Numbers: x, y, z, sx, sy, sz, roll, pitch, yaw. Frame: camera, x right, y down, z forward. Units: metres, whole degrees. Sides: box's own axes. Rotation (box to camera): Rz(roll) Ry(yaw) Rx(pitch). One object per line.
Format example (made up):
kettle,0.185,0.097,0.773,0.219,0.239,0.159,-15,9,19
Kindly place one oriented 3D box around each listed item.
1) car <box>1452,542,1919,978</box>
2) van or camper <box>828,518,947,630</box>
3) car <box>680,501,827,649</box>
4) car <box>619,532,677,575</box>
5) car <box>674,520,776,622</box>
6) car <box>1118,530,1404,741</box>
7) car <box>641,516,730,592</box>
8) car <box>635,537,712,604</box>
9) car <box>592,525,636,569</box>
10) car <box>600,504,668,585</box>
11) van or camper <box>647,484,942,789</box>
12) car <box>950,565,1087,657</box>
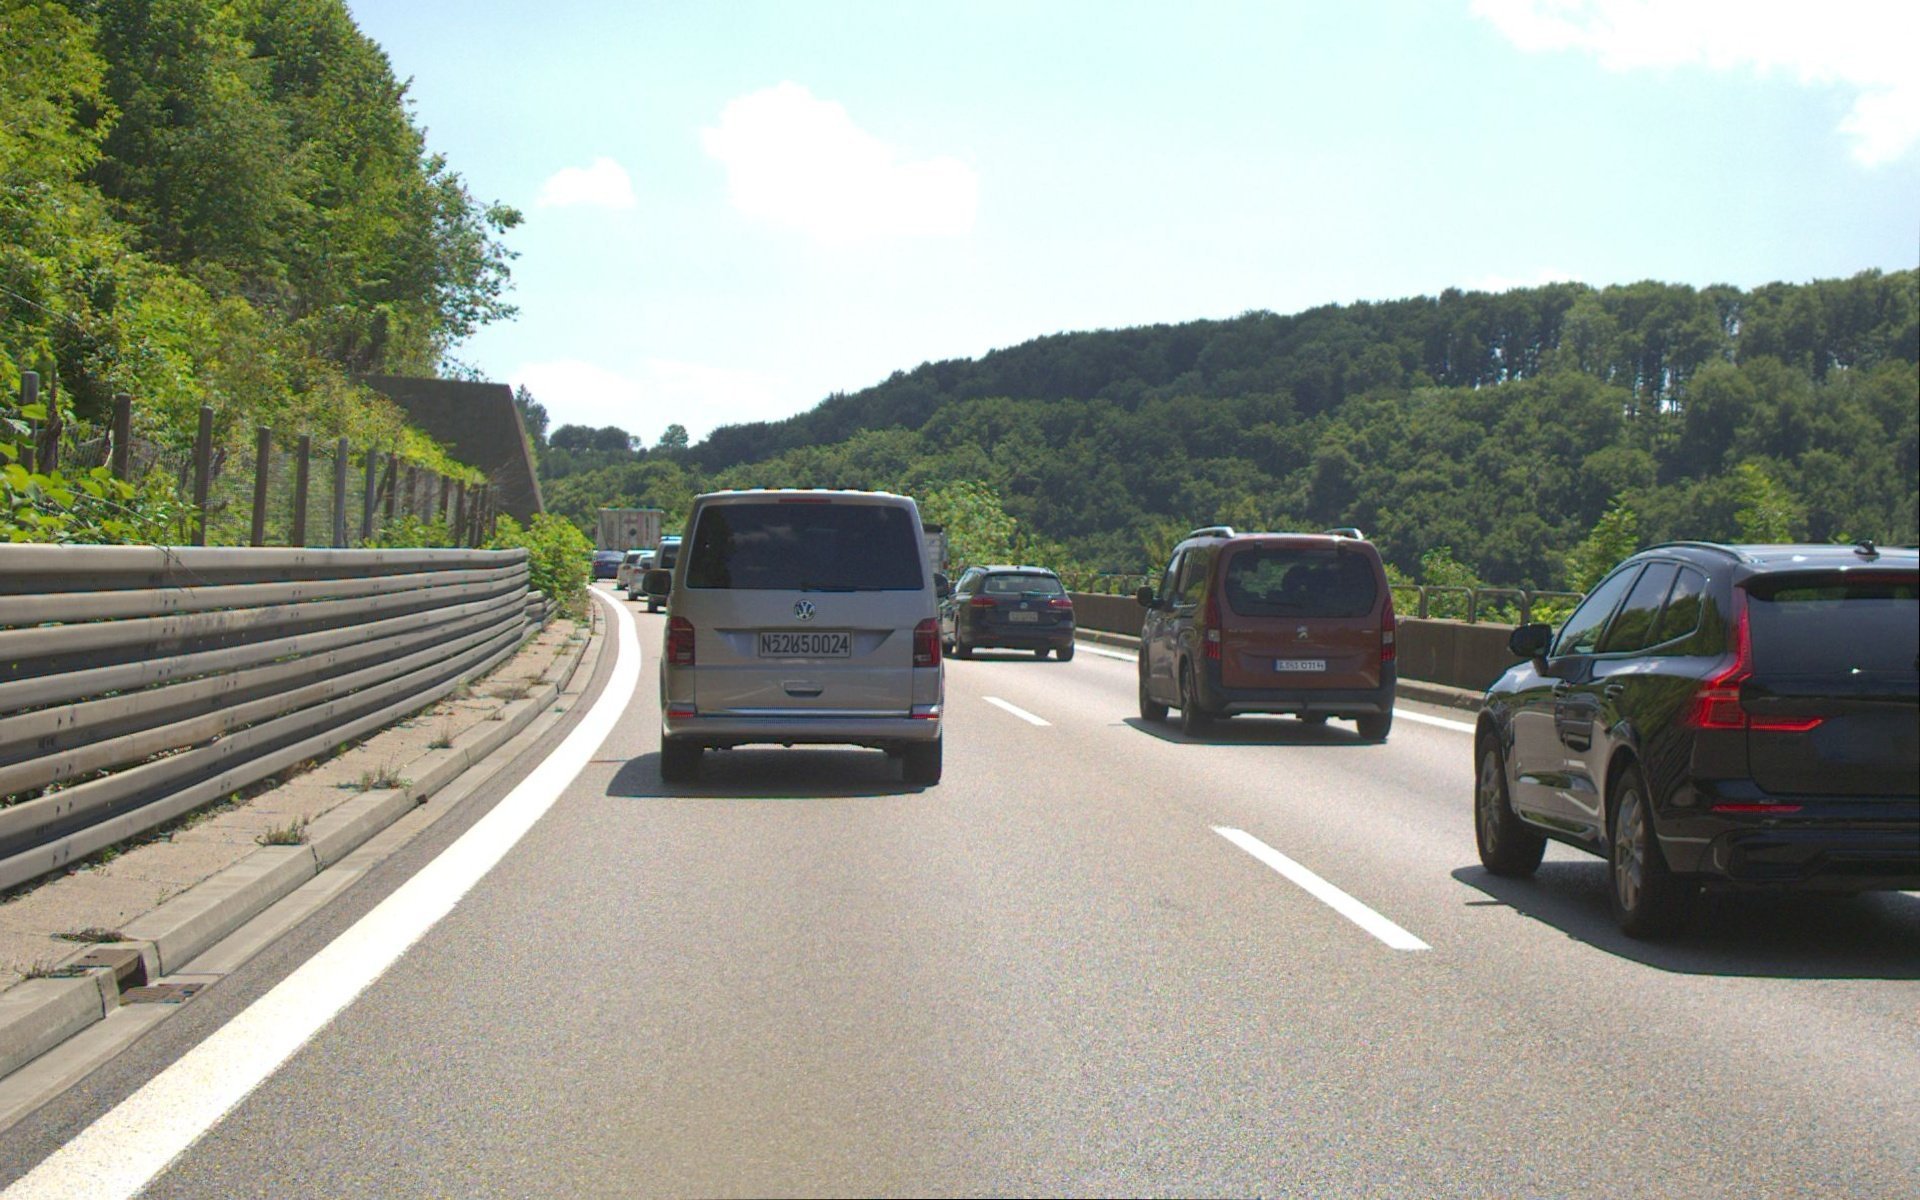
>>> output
car,3.514,0.575,15.193,1.834,1.628,4.663,0,1,-2
van or camper,-1.727,-0.616,79.987,2.263,2.542,4.737,0,1,-7
car,-2.894,-0.353,48.678,1.993,2.007,4.000,0,0,-2
car,-12.125,-1.793,133.425,2.142,1.601,5.079,1,1,-6
car,-4.745,-0.588,69.740,1.993,2.007,4.000,0,0,-3
car,2.646,0.291,31.302,1.833,1.778,4.676,0,0,-5
car,-6.897,-1.155,86.190,1.993,1.811,4.001,2,1,-7
car,-8.518,-0.895,102.050,1.993,1.908,4.001,1,1,-8
car,-16.140,-2.464,160.306,1.993,2.007,4.001,0,0,-5
car,-20.093,-3.382,211.649,4.042,4.855,10.111,0,0,-6
van or camper,-1.163,0.222,24.081,1.875,1.943,4.294,0,0,-3
car,0.881,0.144,53.577,1.768,1.371,3.593,0,1,-5
